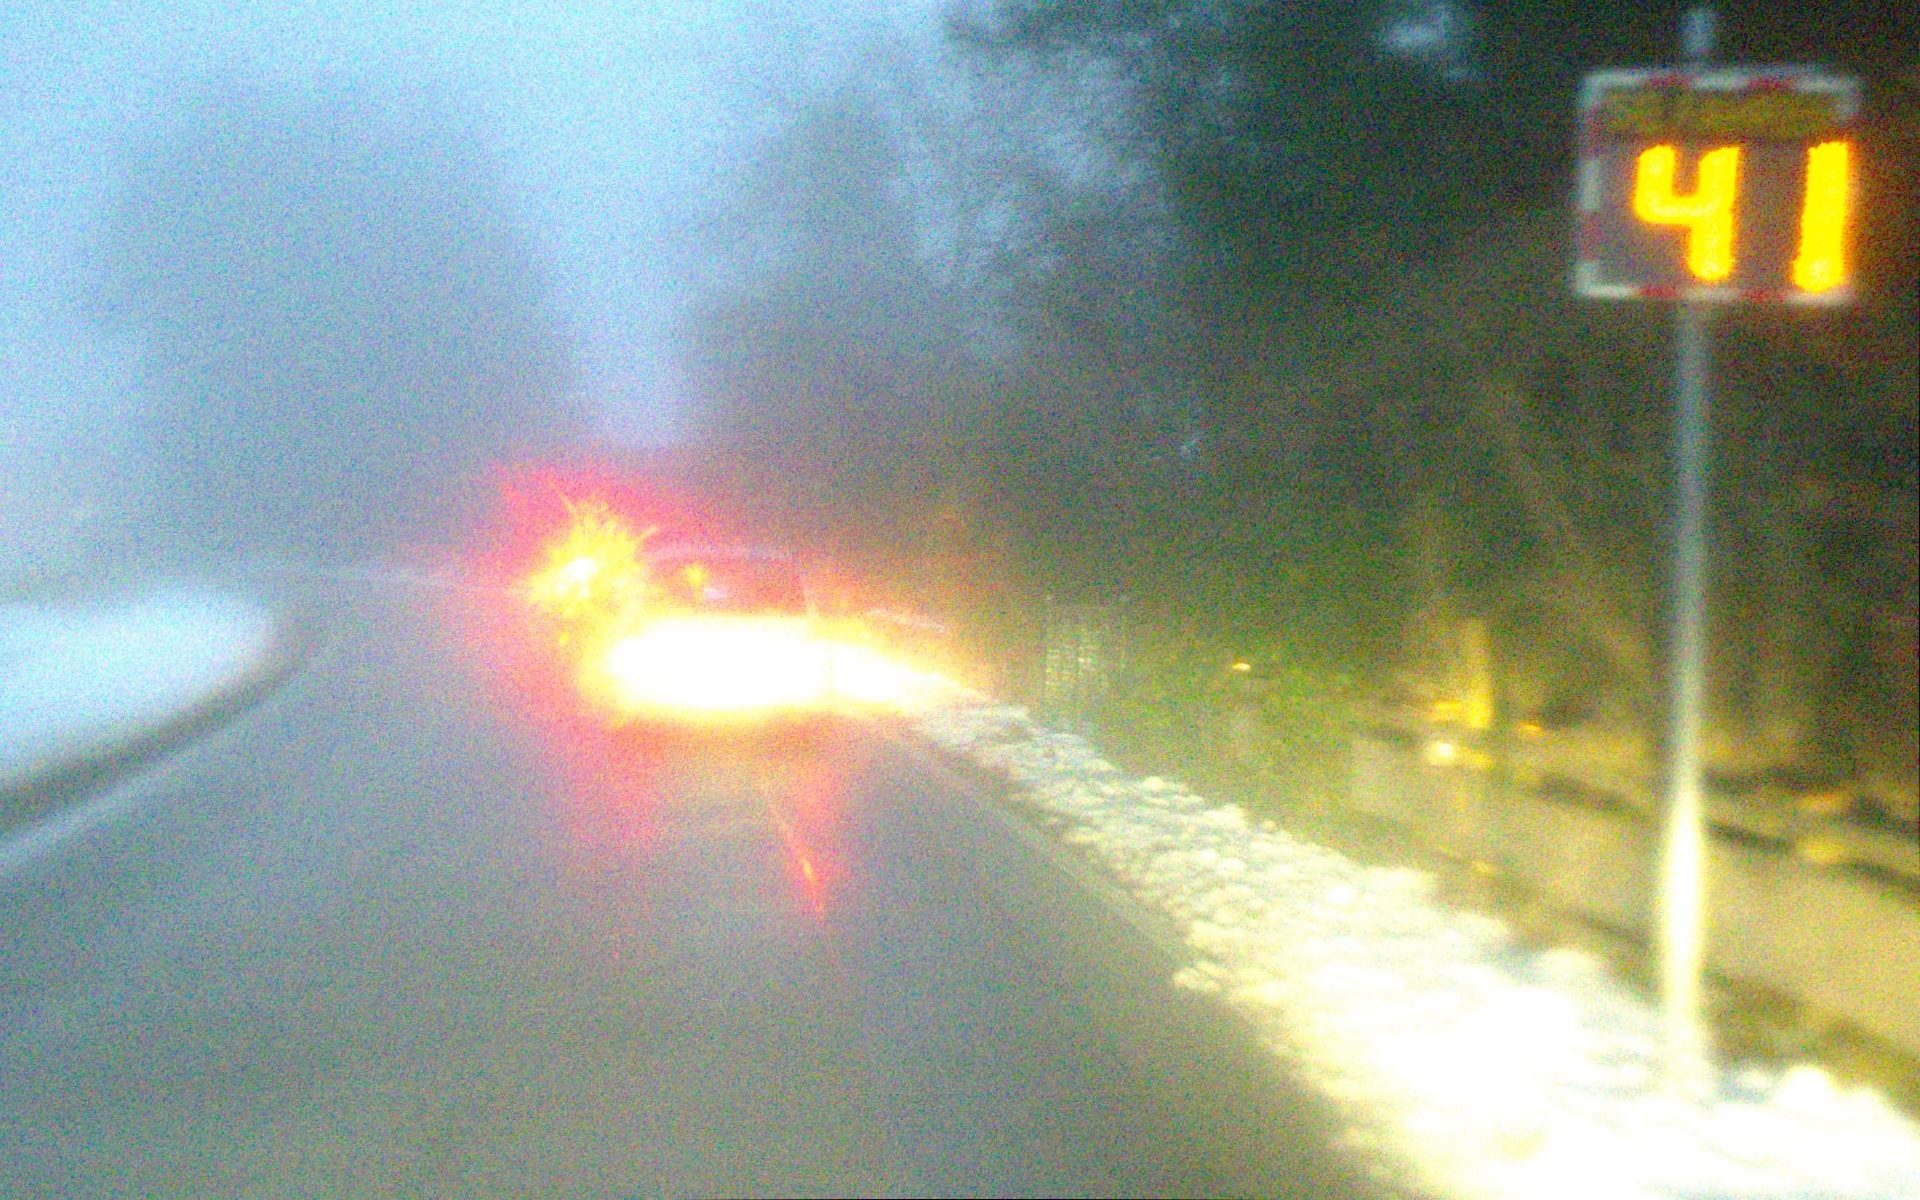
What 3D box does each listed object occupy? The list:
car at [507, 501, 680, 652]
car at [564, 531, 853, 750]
[{"bbox_3d":[-4.454,-0.294,42.264,1.993,1.744,4.001,1,1,-5],"label":"car"},{"bbox_3d":[-1.849,0.260,25.997,1.993,1.503,4.000,1,1,-3],"label":"car"}]
